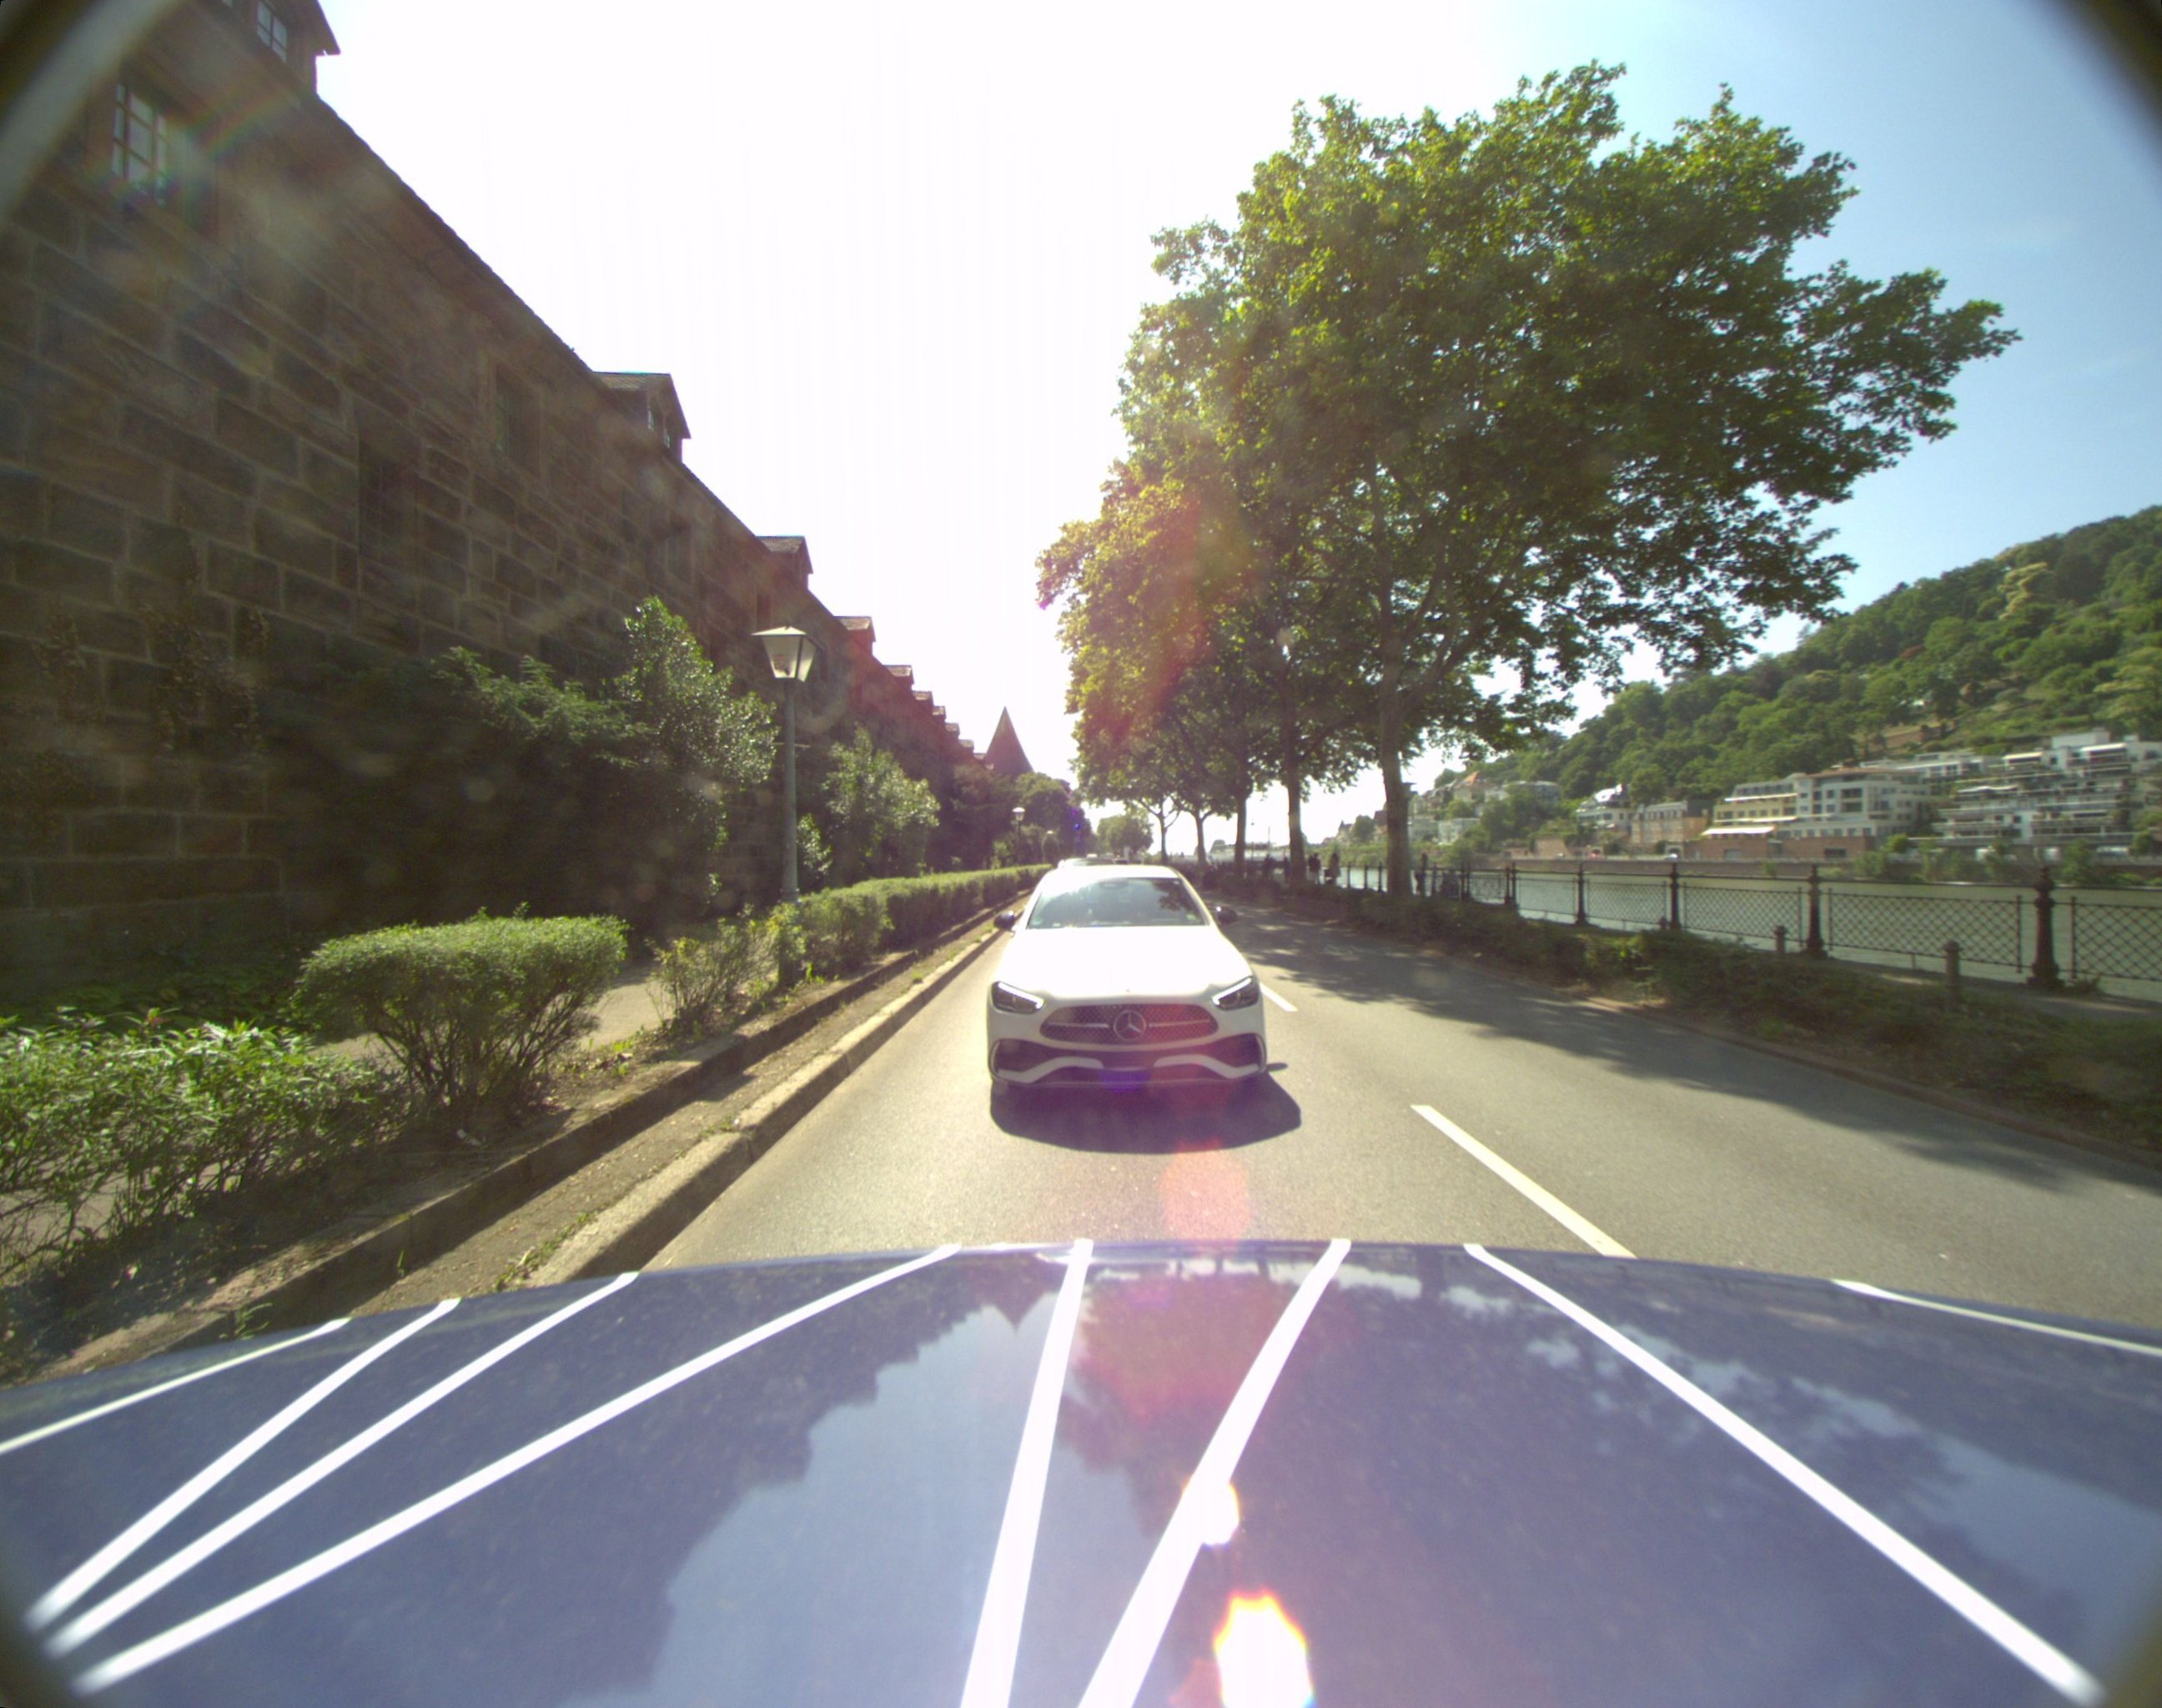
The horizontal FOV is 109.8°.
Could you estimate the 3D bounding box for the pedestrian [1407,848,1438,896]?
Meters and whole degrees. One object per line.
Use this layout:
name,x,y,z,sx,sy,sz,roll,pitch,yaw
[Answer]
pedestrian,12.842,0.668,28.590,0.777,1.748,0.830,1,0,0

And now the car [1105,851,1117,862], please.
car,5.781,0.429,146.800,2.165,2.002,4.000,-2,1,1

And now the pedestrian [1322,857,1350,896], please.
pedestrian,11.087,0.956,33.122,0.897,1.625,1.059,-2,1,6

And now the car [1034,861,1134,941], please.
car,0.087,0.908,16.524,1.833,1.428,4.270,-2,0,1

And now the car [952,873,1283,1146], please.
car,0.235,0.940,6.464,1.833,1.395,4.270,-2,0,1

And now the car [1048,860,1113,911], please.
car,0.009,0.931,24.215,1.833,1.395,4.424,-2,0,1

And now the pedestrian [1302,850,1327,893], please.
pedestrian,10.322,0.757,33.603,0.806,1.839,0.929,-2,1,1

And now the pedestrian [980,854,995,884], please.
pedestrian,-4.887,0.770,39.680,0.643,1.555,0.564,-2,1,1

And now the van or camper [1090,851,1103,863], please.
van or camper,2.975,0.562,147.124,2.313,2.357,5.035,1,0,0

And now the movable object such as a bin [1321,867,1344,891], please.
movable object such as a bin,11.253,1.106,33.998,0.704,1.043,0.783,-2,1,-4

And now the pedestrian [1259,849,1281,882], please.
pedestrian,11.917,0.701,47.942,1.047,2.002,1.036,-2,1,31

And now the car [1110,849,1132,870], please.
car,4.129,0.566,78.715,2.165,2.002,4.000,-2,1,1

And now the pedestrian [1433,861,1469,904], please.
pedestrian,12.003,0.923,24.684,0.768,1.379,0.770,0,0,0
